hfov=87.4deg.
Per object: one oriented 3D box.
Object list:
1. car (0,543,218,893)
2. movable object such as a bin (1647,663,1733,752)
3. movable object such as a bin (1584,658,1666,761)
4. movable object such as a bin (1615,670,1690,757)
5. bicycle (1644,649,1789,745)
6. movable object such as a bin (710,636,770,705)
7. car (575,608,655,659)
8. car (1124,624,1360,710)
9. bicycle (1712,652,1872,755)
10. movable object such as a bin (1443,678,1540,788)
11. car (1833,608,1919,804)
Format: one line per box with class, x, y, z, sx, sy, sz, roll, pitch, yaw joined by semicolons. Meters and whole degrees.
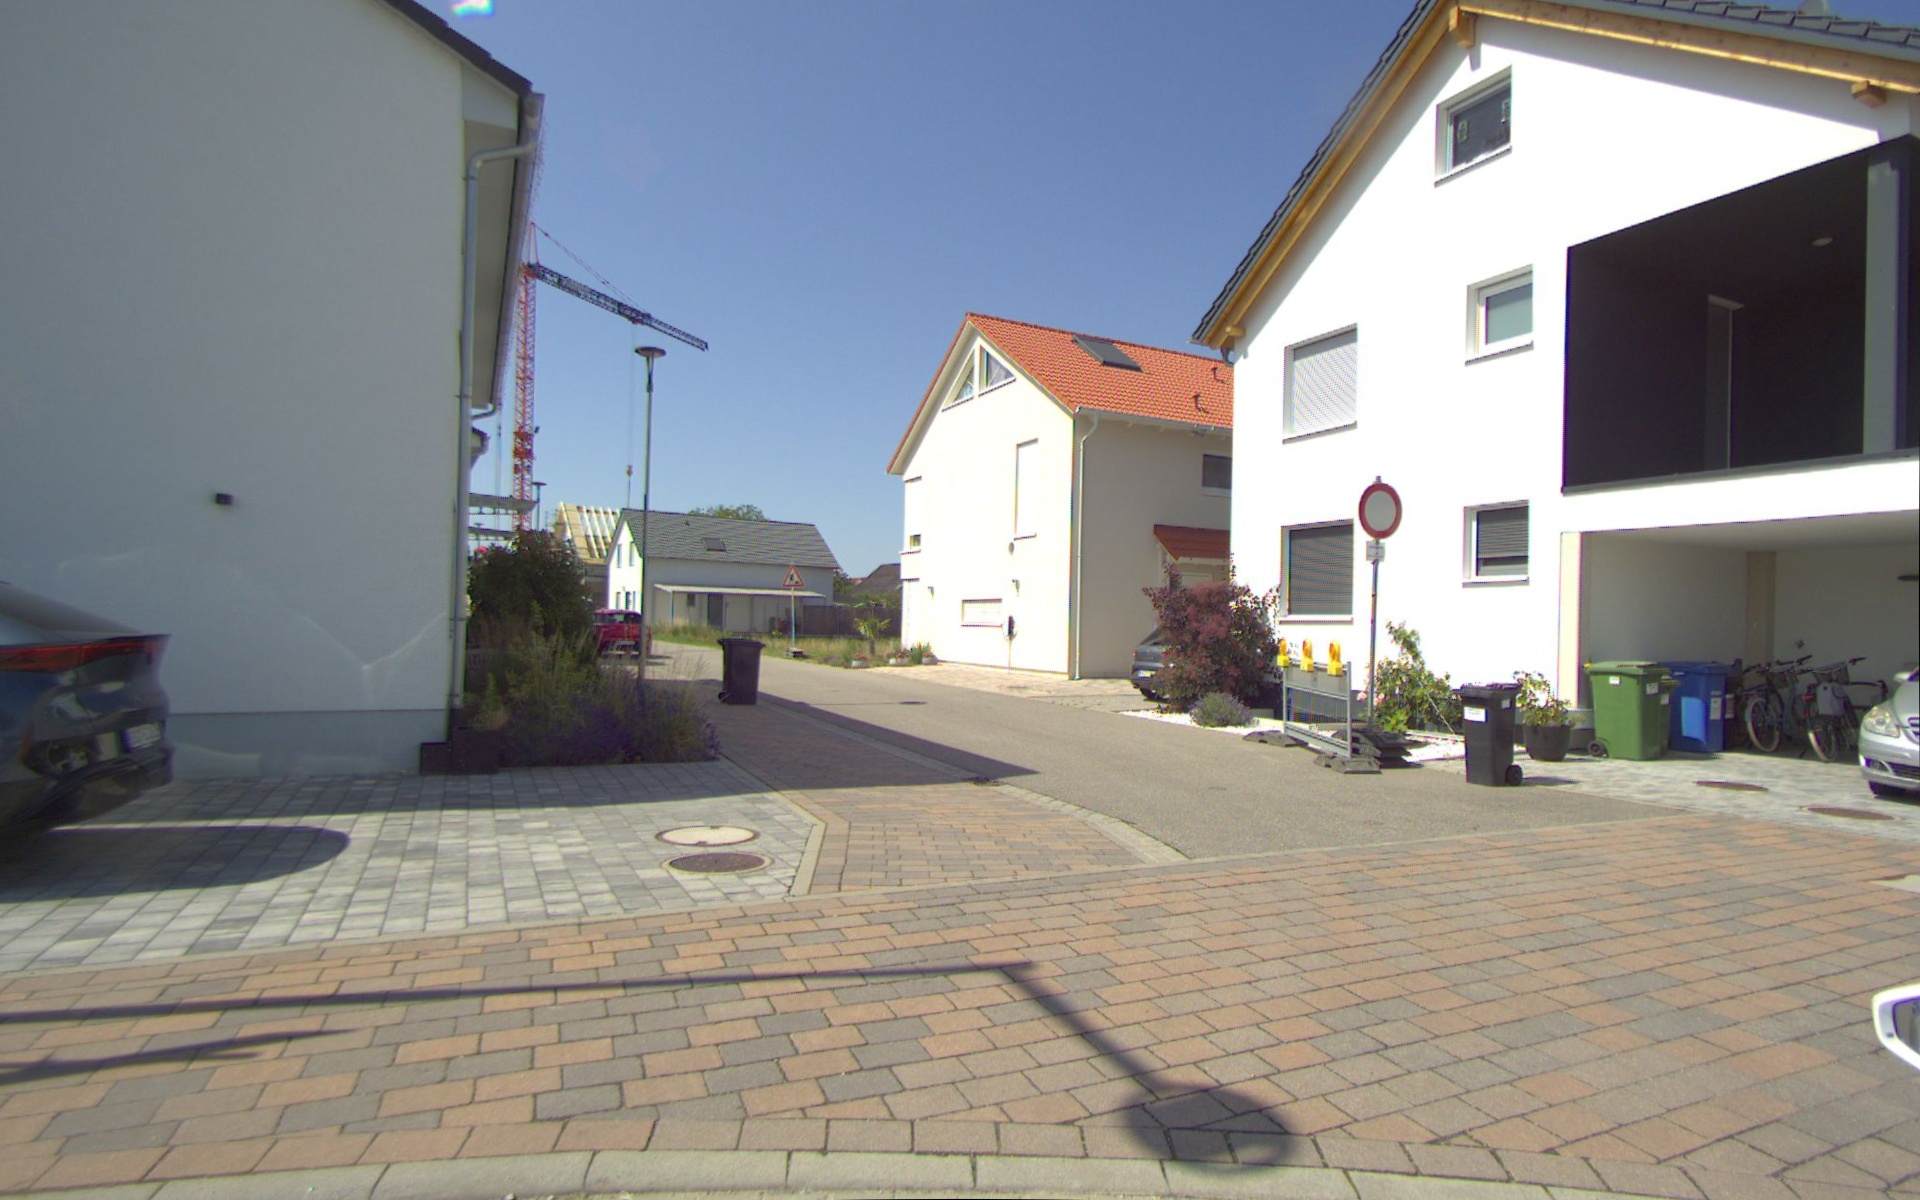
car;-6.350;0.502;4.667;4.292;1.578;1.948;2;-2;-25
movable object such as a bin;8.806;1.277;12.126;0.494;1.000;0.672;1;0;-27
movable object such as a bin;7.522;1.219;11.370;0.494;1.106;0.598;1;-2;-27
movable object such as a bin;8.017;1.296;11.635;0.493;0.917;0.557;-1;1;-27
bicycle;9.949;1.238;13.190;2.109;1.141;0.772;2;0;-31
movable object such as a bin;-3.606;1.137;16.464;0.813;1.079;0.586;2;0;-28
car;-11.221;1.047;32.478;1.888;1.498;3.972;2;0;-27
car;5.125;1.183;18.229;4.008;1.398;1.744;2;-2;-27
bicycle;10.282;1.243;12.401;2.105;1.141;0.726;2;0;-27
movable object such as a bin;4.972;1.225;9.402;0.611;0.949;0.561;1;-1;-27
car;9.728;0.940;8.874;4.115;1.582;1.732;3;-2;-29
